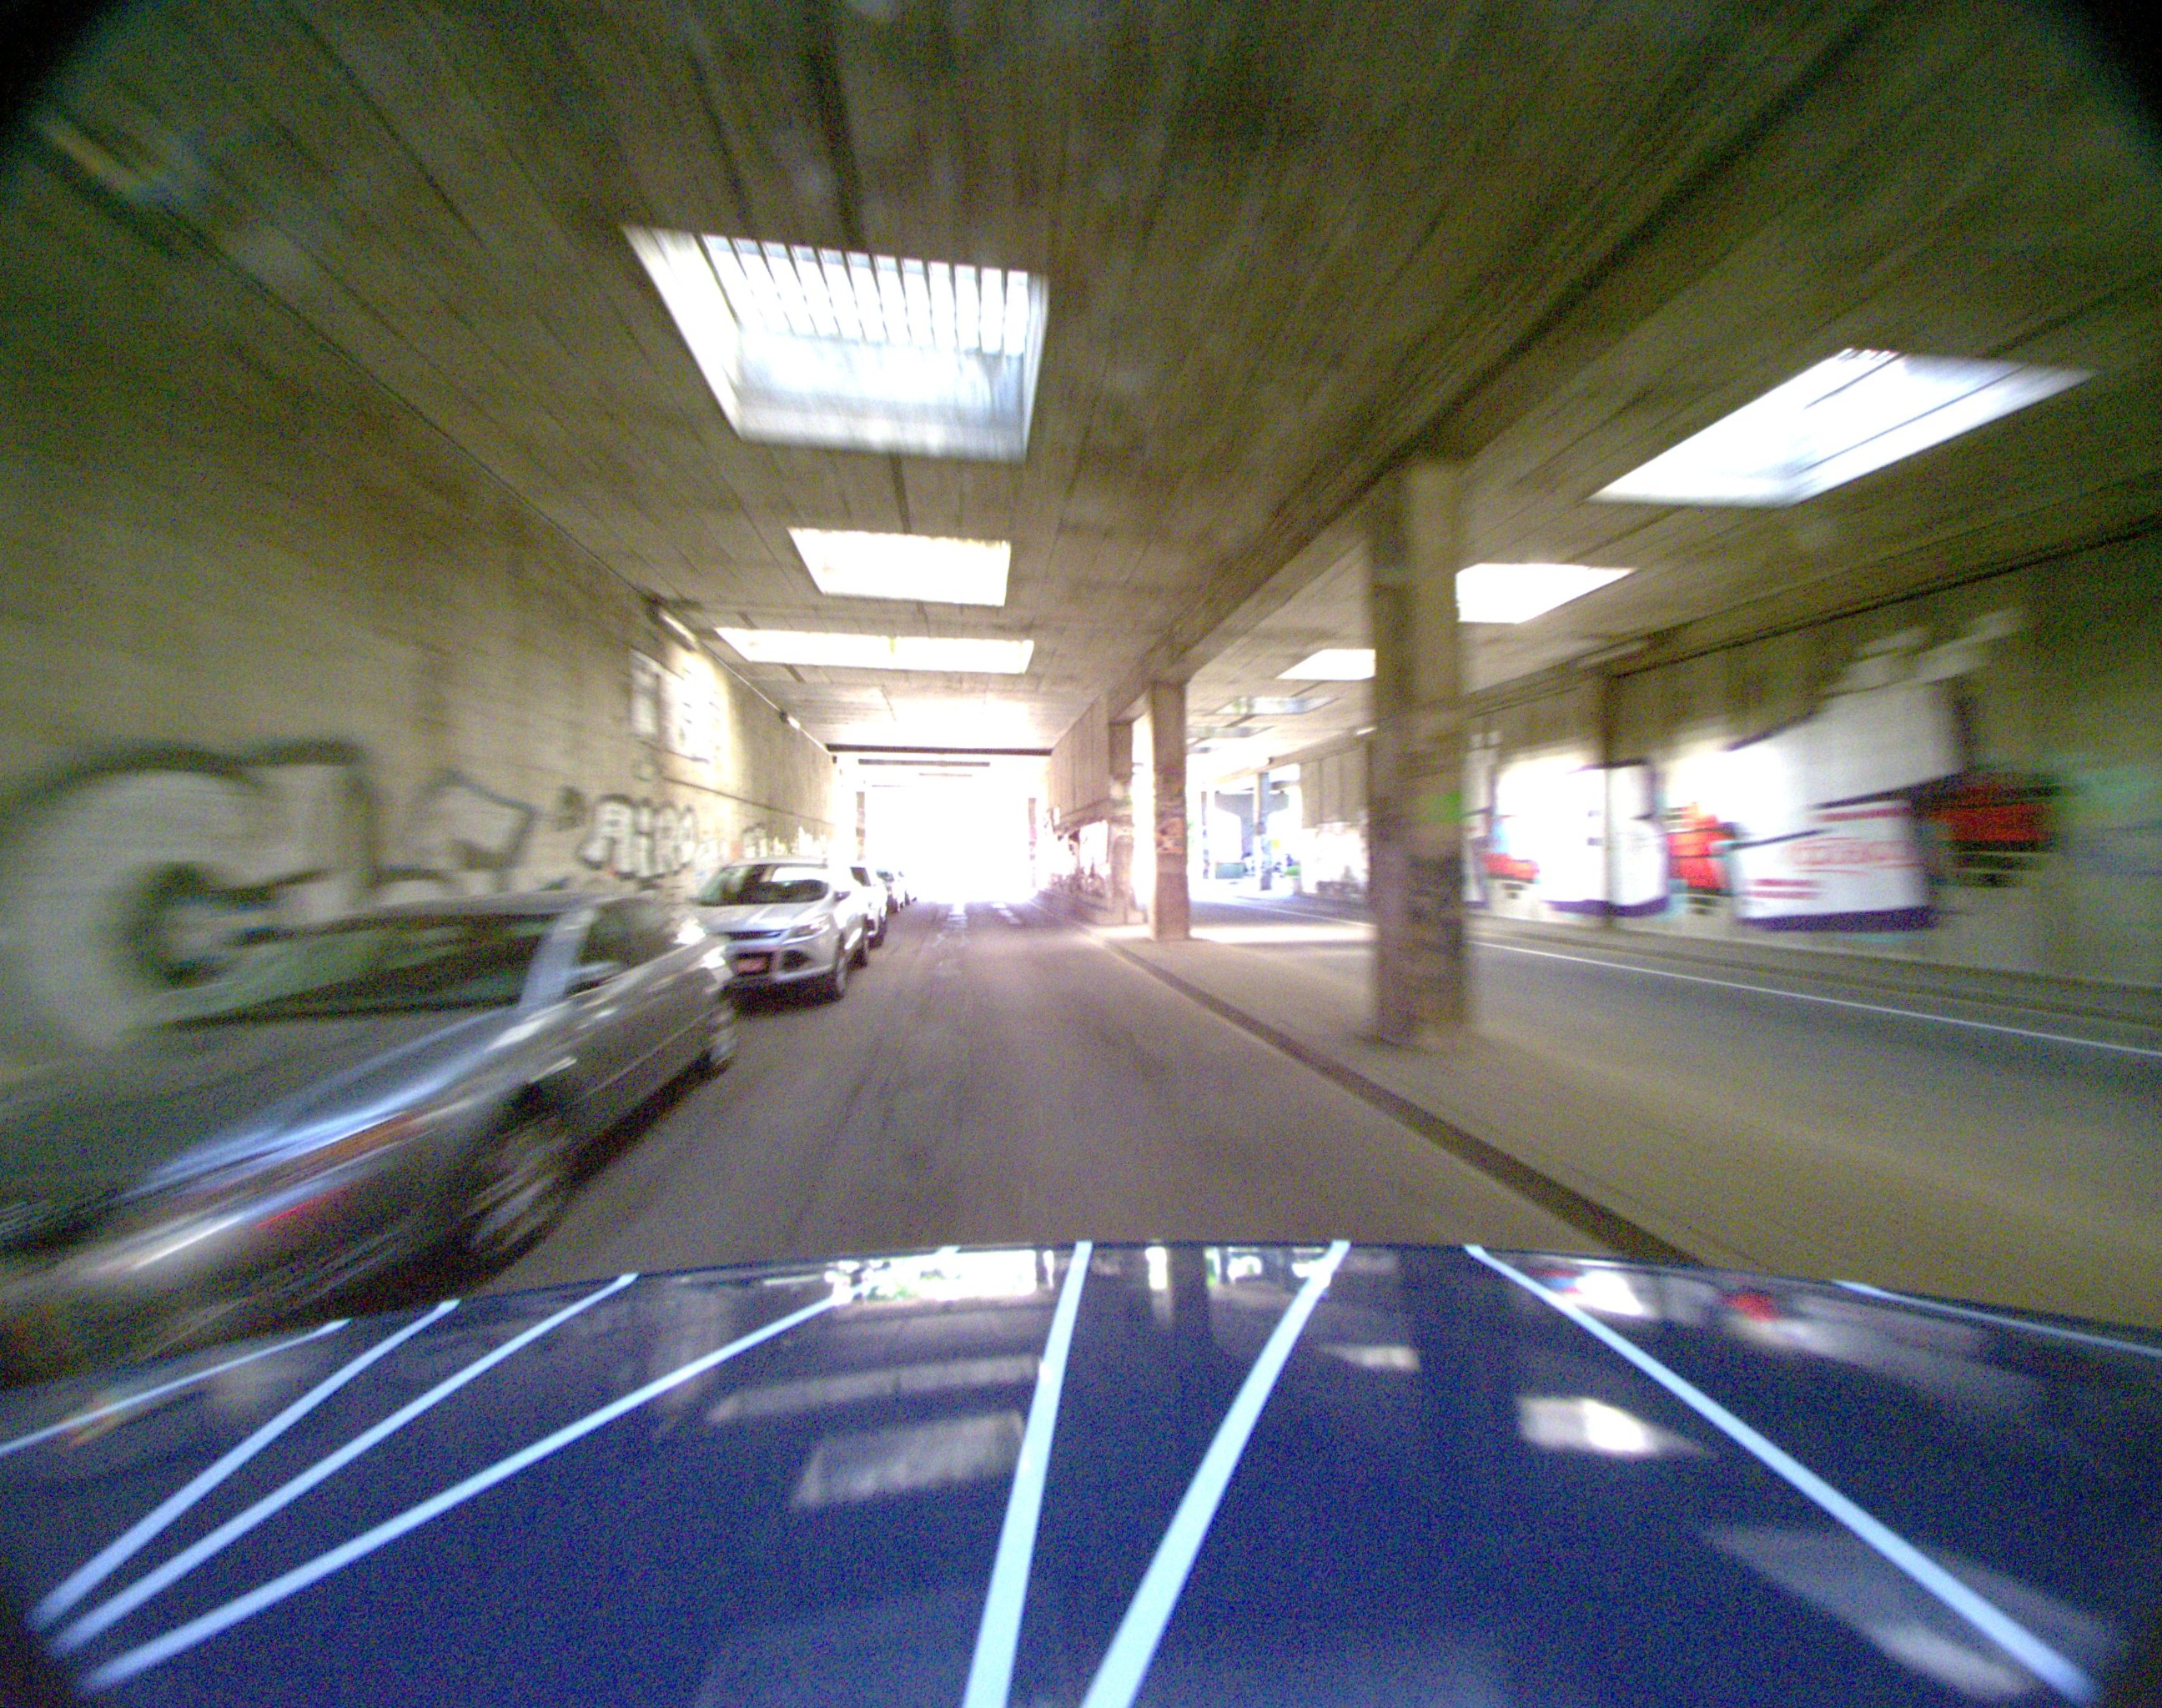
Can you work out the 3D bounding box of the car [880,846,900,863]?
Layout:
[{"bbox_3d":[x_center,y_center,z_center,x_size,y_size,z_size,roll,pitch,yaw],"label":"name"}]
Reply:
[{"bbox_3d":[-23.149,0.084,91.978,1.999,2.017,4.296,-1,0,-20],"label":"car"}]

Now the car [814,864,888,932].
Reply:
[{"bbox_3d":[-5.868,1.045,19.713,1.609,1.479,3.633,-1,1,-14],"label":"car"}]

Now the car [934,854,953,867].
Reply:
[{"bbox_3d":[-17.775,0.852,98.132,1.787,1.548,3.815,-1,1,-18],"label":"car"}]

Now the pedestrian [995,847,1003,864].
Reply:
[{"bbox_3d":[-7.846,0.143,72.668,0.633,1.567,0.532,0,1,15],"label":"pedestrian"}]

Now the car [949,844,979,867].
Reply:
[{"bbox_3d":[-12.779,0.129,82.864,2.222,2.437,5.085,-1,1,-20],"label":"car"}]

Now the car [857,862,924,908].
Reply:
[{"bbox_3d":[-7.155,1.109,28.919,1.857,1.425,4.603,-3,1,-7],"label":"car"}]

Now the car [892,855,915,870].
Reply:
[{"bbox_3d":[-18.288,0.934,78.229,1.781,1.432,3.994,2,-2,-20],"label":"car"}]

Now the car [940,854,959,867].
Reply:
[{"bbox_3d":[-16.291,0.775,94.048,1.697,1.548,3.815,-1,1,-18],"label":"car"}]

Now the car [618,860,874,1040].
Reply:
[{"bbox_3d":[-3.815,0.935,9.536,1.859,1.656,4.367,-2,0,-9],"label":"car"}]

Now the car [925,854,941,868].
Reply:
[{"bbox_3d":[-21.179,0.955,108.624,1.779,1.871,3.994,-1,0,-17],"label":"car"}]

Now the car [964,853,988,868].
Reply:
[{"bbox_3d":[-10.673,0.605,77.261,1.694,1.454,3.993,-1,1,-18],"label":"car"}]

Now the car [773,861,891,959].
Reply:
[{"bbox_3d":[-4.702,0.960,14.892,1.736,1.537,4.151,-1,1,-12],"label":"car"}]

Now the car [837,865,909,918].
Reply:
[{"bbox_3d":[-6.452,1.099,23.929,1.767,1.402,4.059,-1,1,-10],"label":"car"}]

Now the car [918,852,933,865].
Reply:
[{"bbox_3d":[-23.543,0.716,114.849,1.779,1.871,3.993,-1,1,-17],"label":"car"}]

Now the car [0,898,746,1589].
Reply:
[{"bbox_3d":[-3.238,1.068,3.901,1.707,1.366,4.369,-2,0,-10],"label":"car"}]
